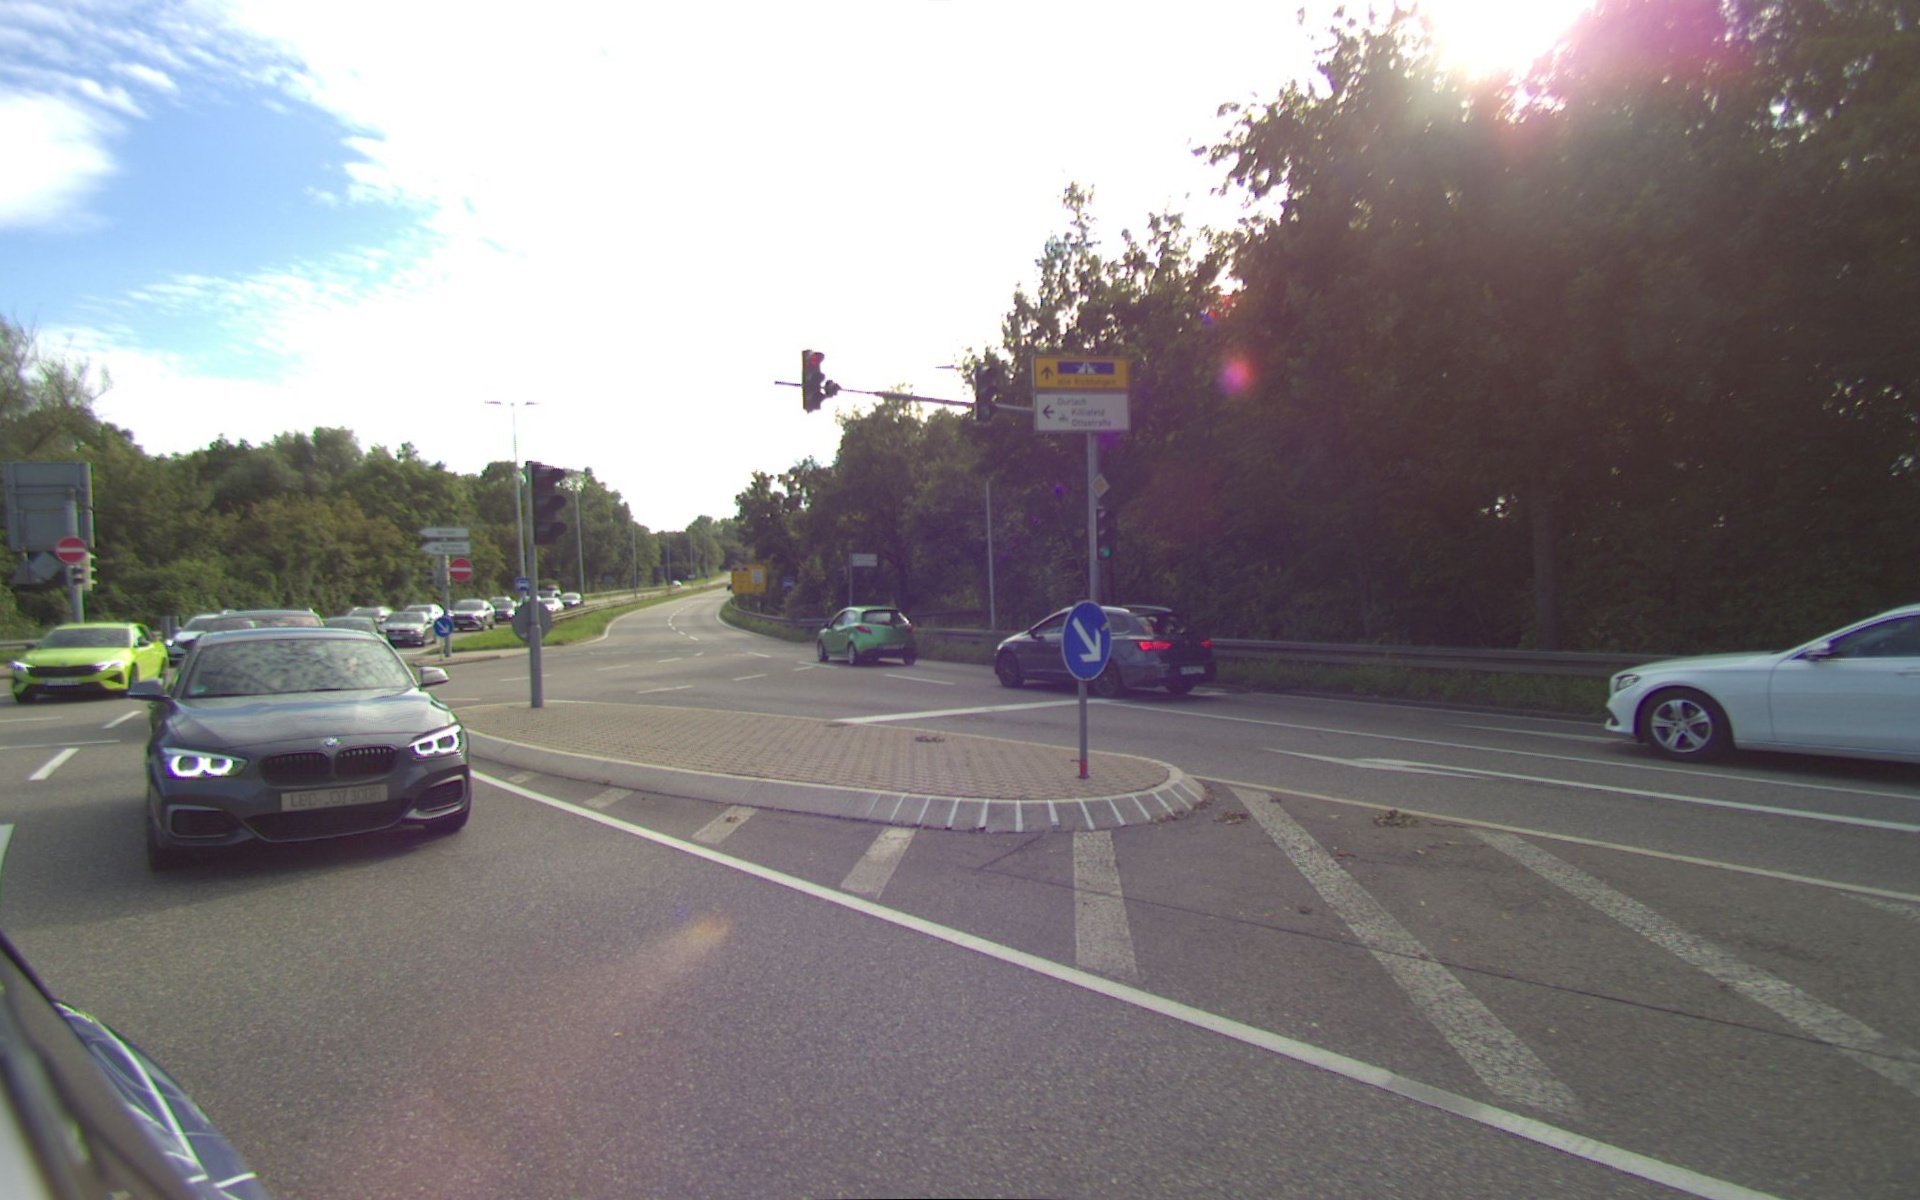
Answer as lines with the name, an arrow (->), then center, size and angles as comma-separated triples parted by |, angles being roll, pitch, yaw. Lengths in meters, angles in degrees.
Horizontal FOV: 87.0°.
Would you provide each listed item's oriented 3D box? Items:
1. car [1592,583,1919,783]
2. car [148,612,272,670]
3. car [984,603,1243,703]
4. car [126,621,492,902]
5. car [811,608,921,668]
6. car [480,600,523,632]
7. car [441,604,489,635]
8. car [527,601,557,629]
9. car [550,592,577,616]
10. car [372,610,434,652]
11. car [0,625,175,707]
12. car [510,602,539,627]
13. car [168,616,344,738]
car -> 8.154, 0.623, 8.180 | 1.790, 1.532, 4.839 | -1, -1, -35
car -> -22.452, 1.172, 30.473 | 1.965, 1.564, 4.013 | -1, 0, -21
car -> 2.386, 0.798, 16.876 | 1.789, 1.415, 4.403 | -1, -1, -32
car -> -4.864, 0.881, 7.364 | 1.759, 1.415, 3.978 | -1, -1, -38
car -> -2.507, 0.929, 26.155 | 1.613, 1.415, 3.753 | -1, 0, -25
car -> -29.799, 1.011, 65.938 | 1.966, 2.029, 4.285 | -1, 0, -17
car -> -27.116, 1.019, 55.574 | 1.965, 1.612, 4.295 | -1, 0, -21
car -> -32.177, 1.135, 77.983 | 1.965, 2.029, 4.013 | -1, 0, -20
car -> -34.216, 0.344, 87.330 | 1.966, 2.029, 4.013 | -1, 0, -19
car -> -22.437, 1.211, 40.879 | 1.613, 1.564, 3.753 | -1, 0, -20
car -> -17.505, 1.241, 20.527 | 1.789, 1.415, 4.405 | -1, -1, -28
car -> -37.191, 1.197, 86.418 | 1.965, 2.029, 4.013 | -1, 0, -19
car -> -10.658, 1.033, 15.177 | 1.791, 1.518, 4.398 | -1, -1, -40
